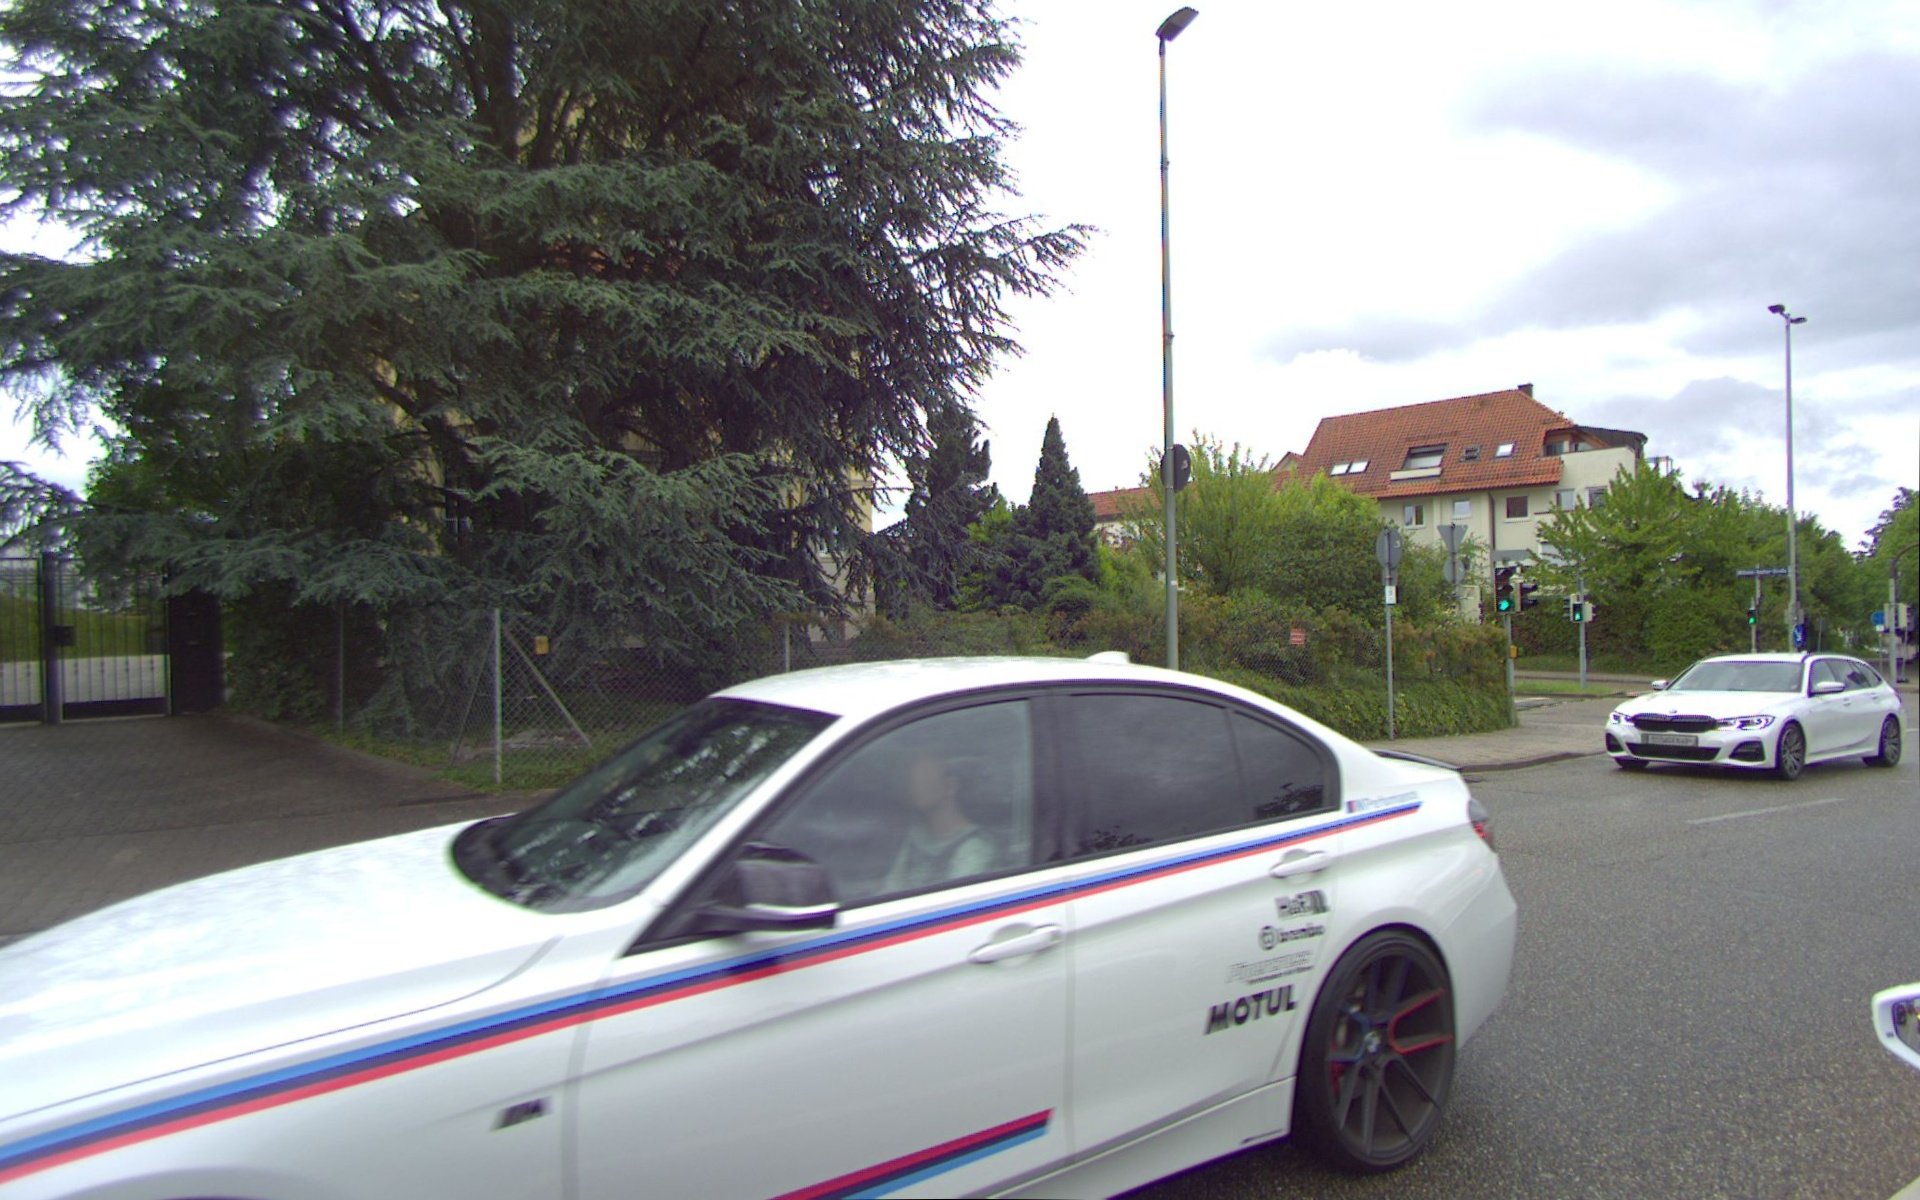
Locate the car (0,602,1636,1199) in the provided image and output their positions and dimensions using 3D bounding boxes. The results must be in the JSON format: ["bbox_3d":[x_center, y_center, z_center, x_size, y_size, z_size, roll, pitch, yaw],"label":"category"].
[{"bbox_3d":[-0.080,0.782,3.030,4.358,1.403,1.741,1,-3,-30],"label":"car"}]

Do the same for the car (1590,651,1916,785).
[{"bbox_3d":[10.148,1.367,12.780,4.496,1.403,1.766,1,-2,-31],"label":"car"}]
